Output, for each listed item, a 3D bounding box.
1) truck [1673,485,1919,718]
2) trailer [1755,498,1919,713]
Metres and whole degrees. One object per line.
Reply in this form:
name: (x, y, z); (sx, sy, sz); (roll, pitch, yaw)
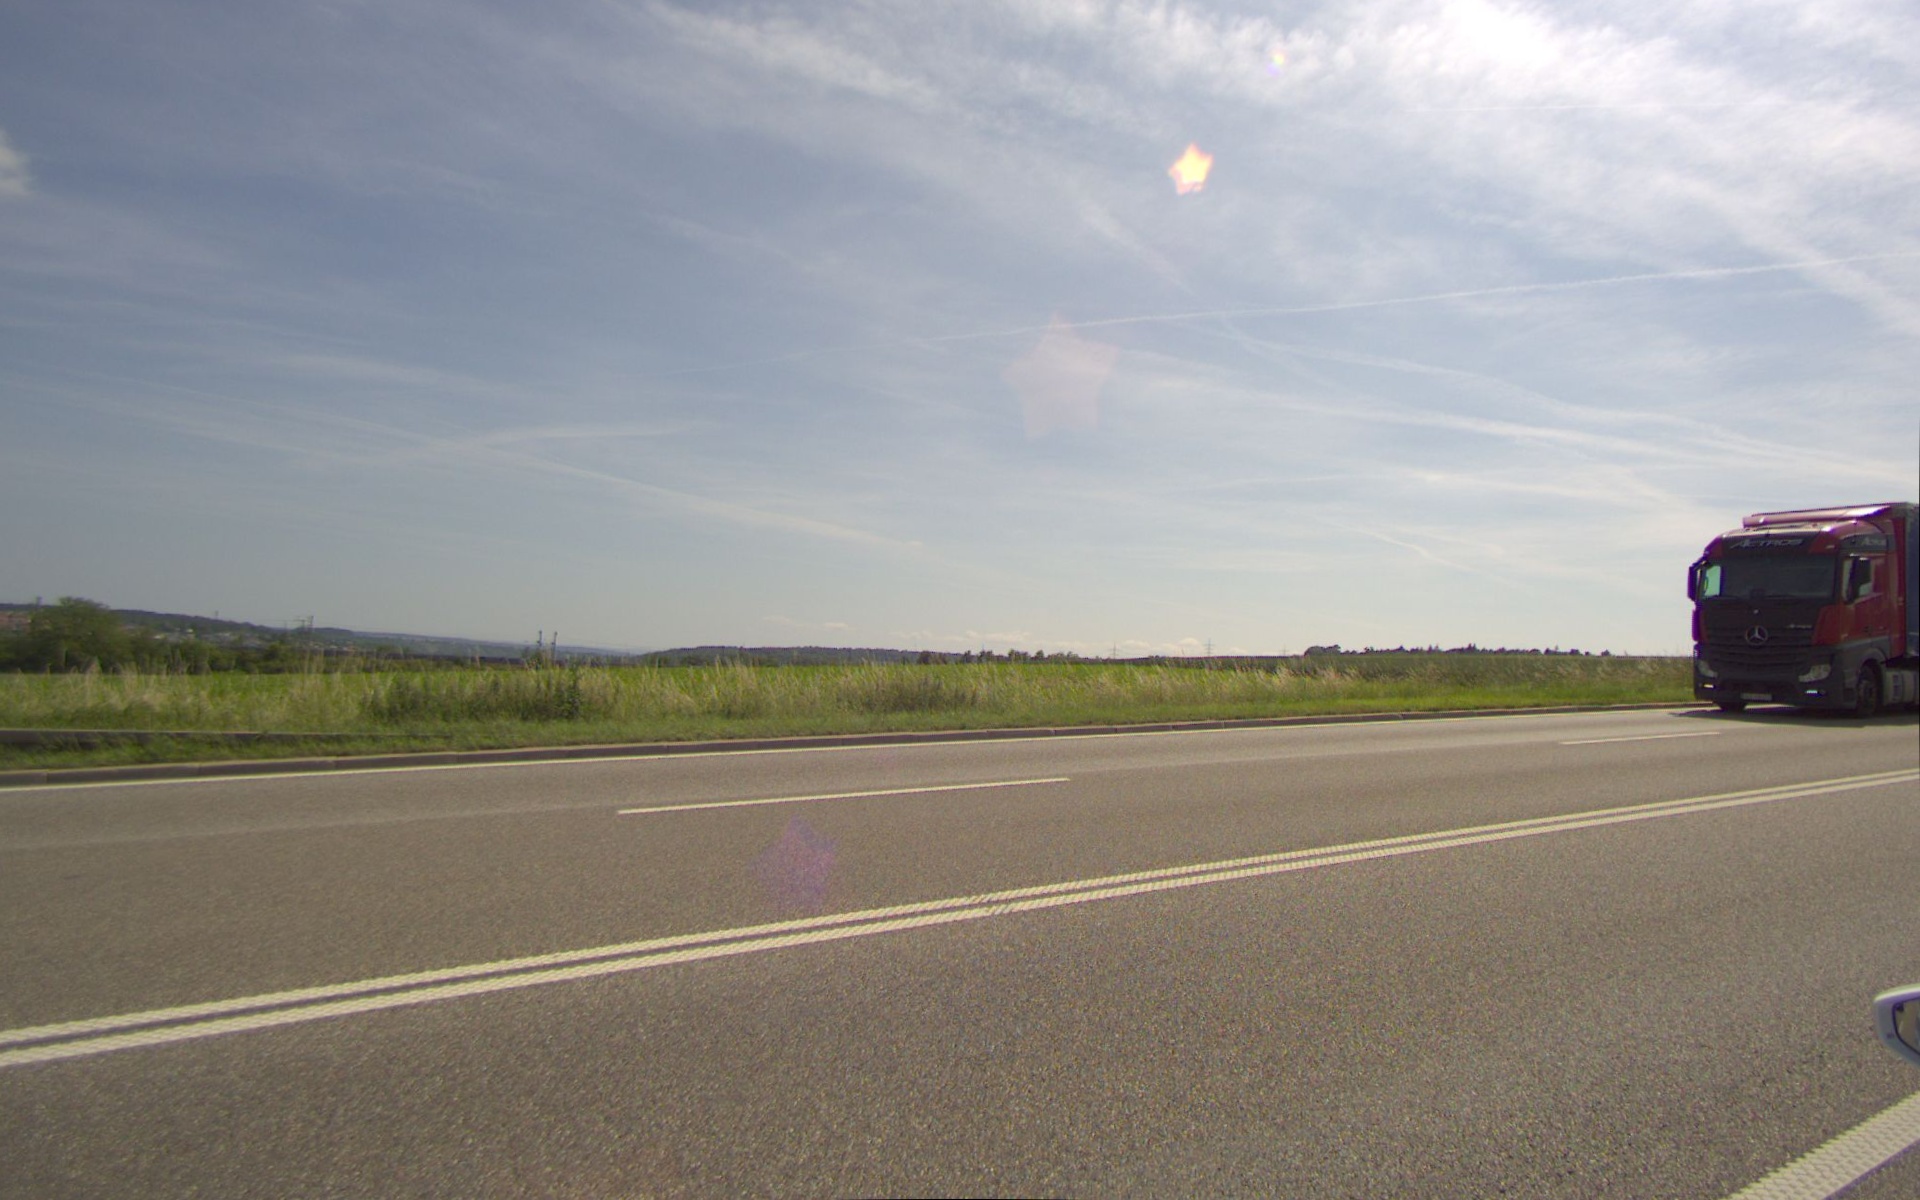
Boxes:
truck: (17.622, 0.130, 20.517); (6.012, 4.155, 2.607); (2, -2, -28)
trailer: (23.678, 0.306, 23.746); (13.413, 4.155, 2.535); (2, -2, -28)
